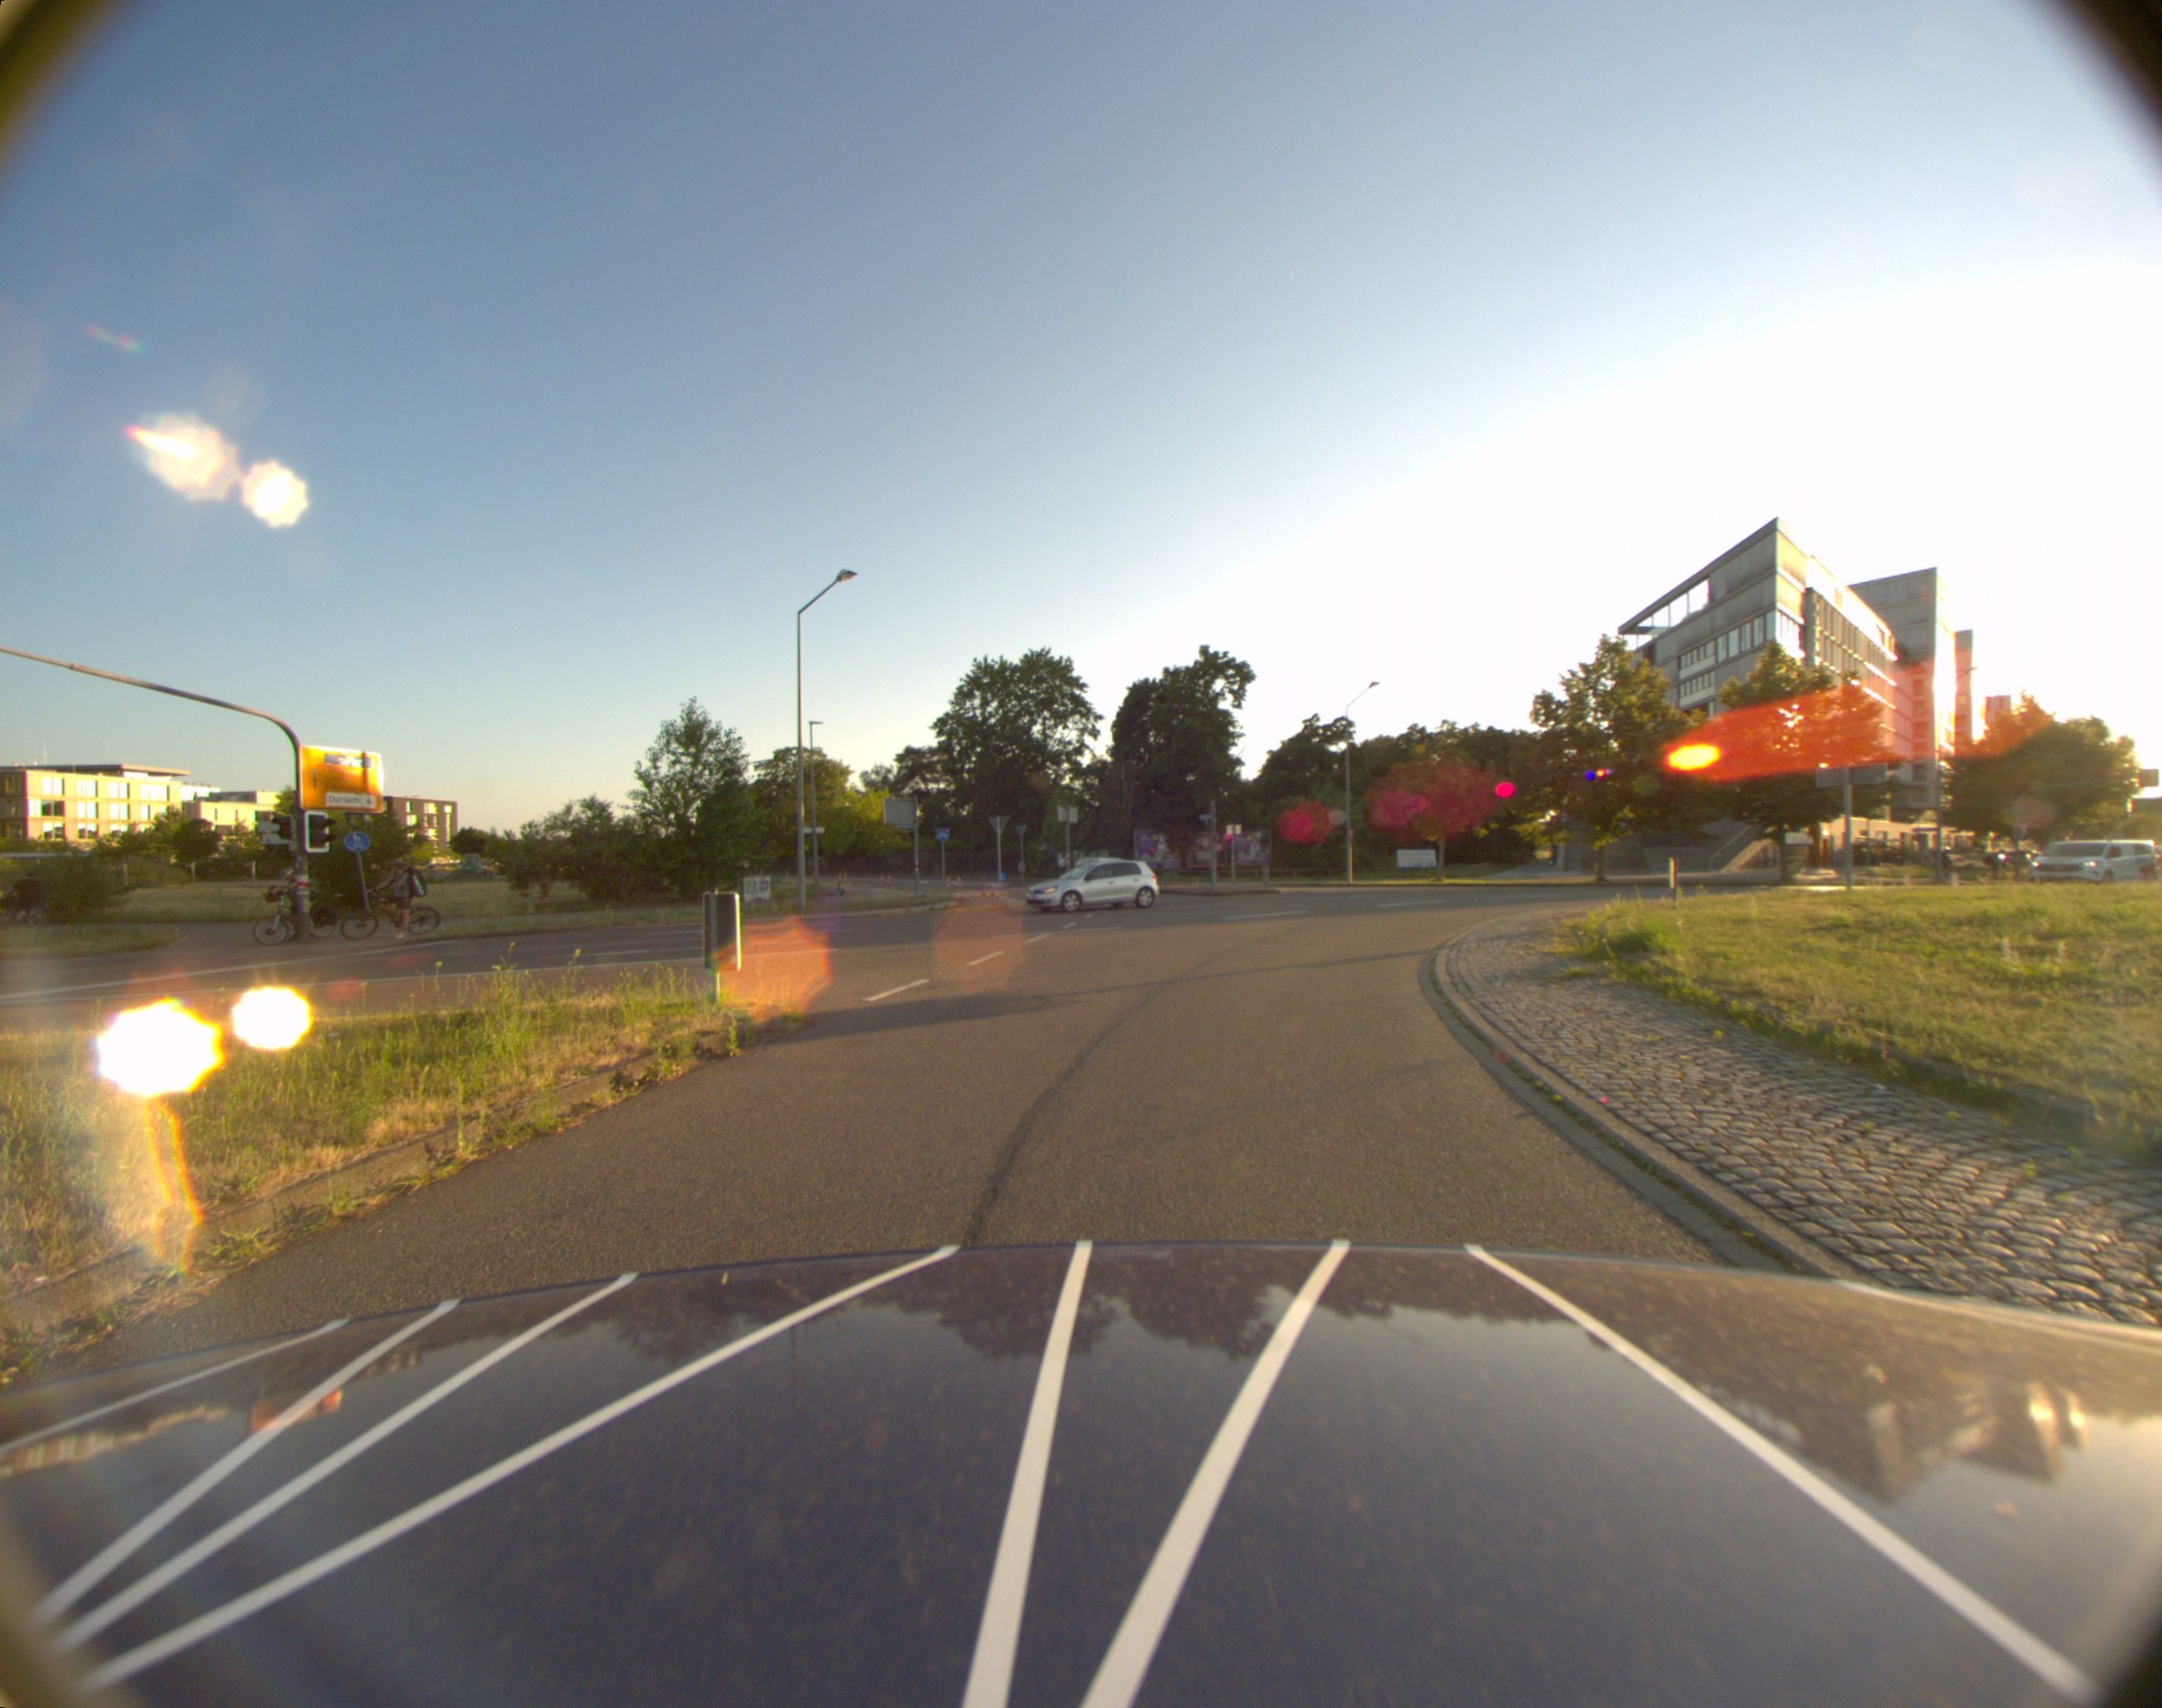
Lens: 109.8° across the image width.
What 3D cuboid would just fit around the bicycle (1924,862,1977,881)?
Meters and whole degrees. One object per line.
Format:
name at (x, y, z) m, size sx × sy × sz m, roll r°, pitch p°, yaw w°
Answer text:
bicycle at (47.123, 0.949, 41.191) m, size 1.858 × 1.016 × 0.308 m, roll -1°, pitch 0°, yaw 44°

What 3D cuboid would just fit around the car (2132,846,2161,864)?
car at (100.604, 0.094, 71.552) m, size 4.007 × 1.612 × 1.773 m, roll -1°, pitch 1°, yaw -34°

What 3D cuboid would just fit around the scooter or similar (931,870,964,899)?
scooter or similar at (-5.548, 1.245, 31.629) m, size 0.441 × 1.156 × 1.386 m, roll 0°, pitch 0°, yaw 39°

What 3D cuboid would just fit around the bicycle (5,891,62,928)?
bicycle at (-31.249, 1.656, 22.675) m, size 1.371 × 1.082 × 0.280 m, roll -1°, pitch 1°, yaw 3°

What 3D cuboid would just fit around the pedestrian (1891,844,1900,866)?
pedestrian at (75.606, 0.081, 70.543) m, size 0.528 × 2.002 × 0.537 m, roll -1°, pitch 0°, yaw -37°

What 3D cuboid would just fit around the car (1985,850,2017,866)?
car at (89.005, 0.373, 73.524) m, size 4.008 × 1.455 × 1.798 m, roll 0°, pitch 0°, yaw -37°

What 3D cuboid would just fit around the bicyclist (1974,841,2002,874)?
bicyclist at (49.154, 0.202, 41.167) m, size 0.805 × 1.745 × 0.847 m, roll -1°, pitch 0°, yaw -30°

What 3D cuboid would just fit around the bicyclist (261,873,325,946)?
bicyclist at (-19.128, 1.332, 18.463) m, size 0.641 × 1.693 × 0.770 m, roll -1°, pitch 3°, yaw 1°

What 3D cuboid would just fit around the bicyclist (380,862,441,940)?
bicyclist at (-16.994, 1.180, 19.268) m, size 0.641 × 1.887 × 0.910 m, roll -1°, pitch 2°, yaw 1°

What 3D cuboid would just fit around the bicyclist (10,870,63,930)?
bicyclist at (-31.186, 1.371, 22.695) m, size 0.843 × 1.733 × 0.537 m, roll -1°, pitch 0°, yaw 3°

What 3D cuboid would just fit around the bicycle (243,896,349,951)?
bicycle at (-19.052, 1.665, 18.504) m, size 0.456 × 1.079 × 1.928 m, roll -1°, pitch 3°, yaw 2°

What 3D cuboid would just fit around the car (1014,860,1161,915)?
car at (0.212, 0.957, 23.168) m, size 4.057 × 1.472 × 1.888 m, roll -1°, pitch 0°, yaw -28°

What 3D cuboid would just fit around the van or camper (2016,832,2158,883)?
van or camper at (42.023, 0.128, 31.748) m, size 5.333 × 1.946 × 1.997 m, roll -1°, pitch 1°, yaw -19°

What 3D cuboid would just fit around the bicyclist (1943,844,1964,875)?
bicyclist at (47.341, 0.296, 41.245) m, size 0.682 × 1.638 × 0.685 m, roll 0°, pitch 0°, yaw 44°

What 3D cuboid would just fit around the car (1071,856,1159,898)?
car at (1.296, 0.881, 30.920) m, size 1.893 × 1.549 × 4.087 m, roll -1°, pitch 0°, yaw -25°

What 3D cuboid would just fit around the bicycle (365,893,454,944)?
bicycle at (-16.962, 1.599, 19.266) m, size 0.456 × 1.079 × 1.928 m, roll -1°, pitch 2°, yaw 2°

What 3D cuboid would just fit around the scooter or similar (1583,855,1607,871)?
scooter or similar at (39.262, 0.689, 58.036) m, size 0.367 × 1.213 × 1.573 m, roll -1°, pitch 0°, yaw -27°

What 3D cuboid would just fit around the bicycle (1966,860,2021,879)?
bicycle at (49.566, 0.824, 41.301) m, size 0.438 × 1.016 × 1.859 m, roll -1°, pitch 0°, yaw -29°

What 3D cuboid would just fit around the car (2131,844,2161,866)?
car at (81.493, 0.077, 57.757) m, size 4.007 × 1.612 × 1.773 m, roll -1°, pitch 1°, yaw -34°
